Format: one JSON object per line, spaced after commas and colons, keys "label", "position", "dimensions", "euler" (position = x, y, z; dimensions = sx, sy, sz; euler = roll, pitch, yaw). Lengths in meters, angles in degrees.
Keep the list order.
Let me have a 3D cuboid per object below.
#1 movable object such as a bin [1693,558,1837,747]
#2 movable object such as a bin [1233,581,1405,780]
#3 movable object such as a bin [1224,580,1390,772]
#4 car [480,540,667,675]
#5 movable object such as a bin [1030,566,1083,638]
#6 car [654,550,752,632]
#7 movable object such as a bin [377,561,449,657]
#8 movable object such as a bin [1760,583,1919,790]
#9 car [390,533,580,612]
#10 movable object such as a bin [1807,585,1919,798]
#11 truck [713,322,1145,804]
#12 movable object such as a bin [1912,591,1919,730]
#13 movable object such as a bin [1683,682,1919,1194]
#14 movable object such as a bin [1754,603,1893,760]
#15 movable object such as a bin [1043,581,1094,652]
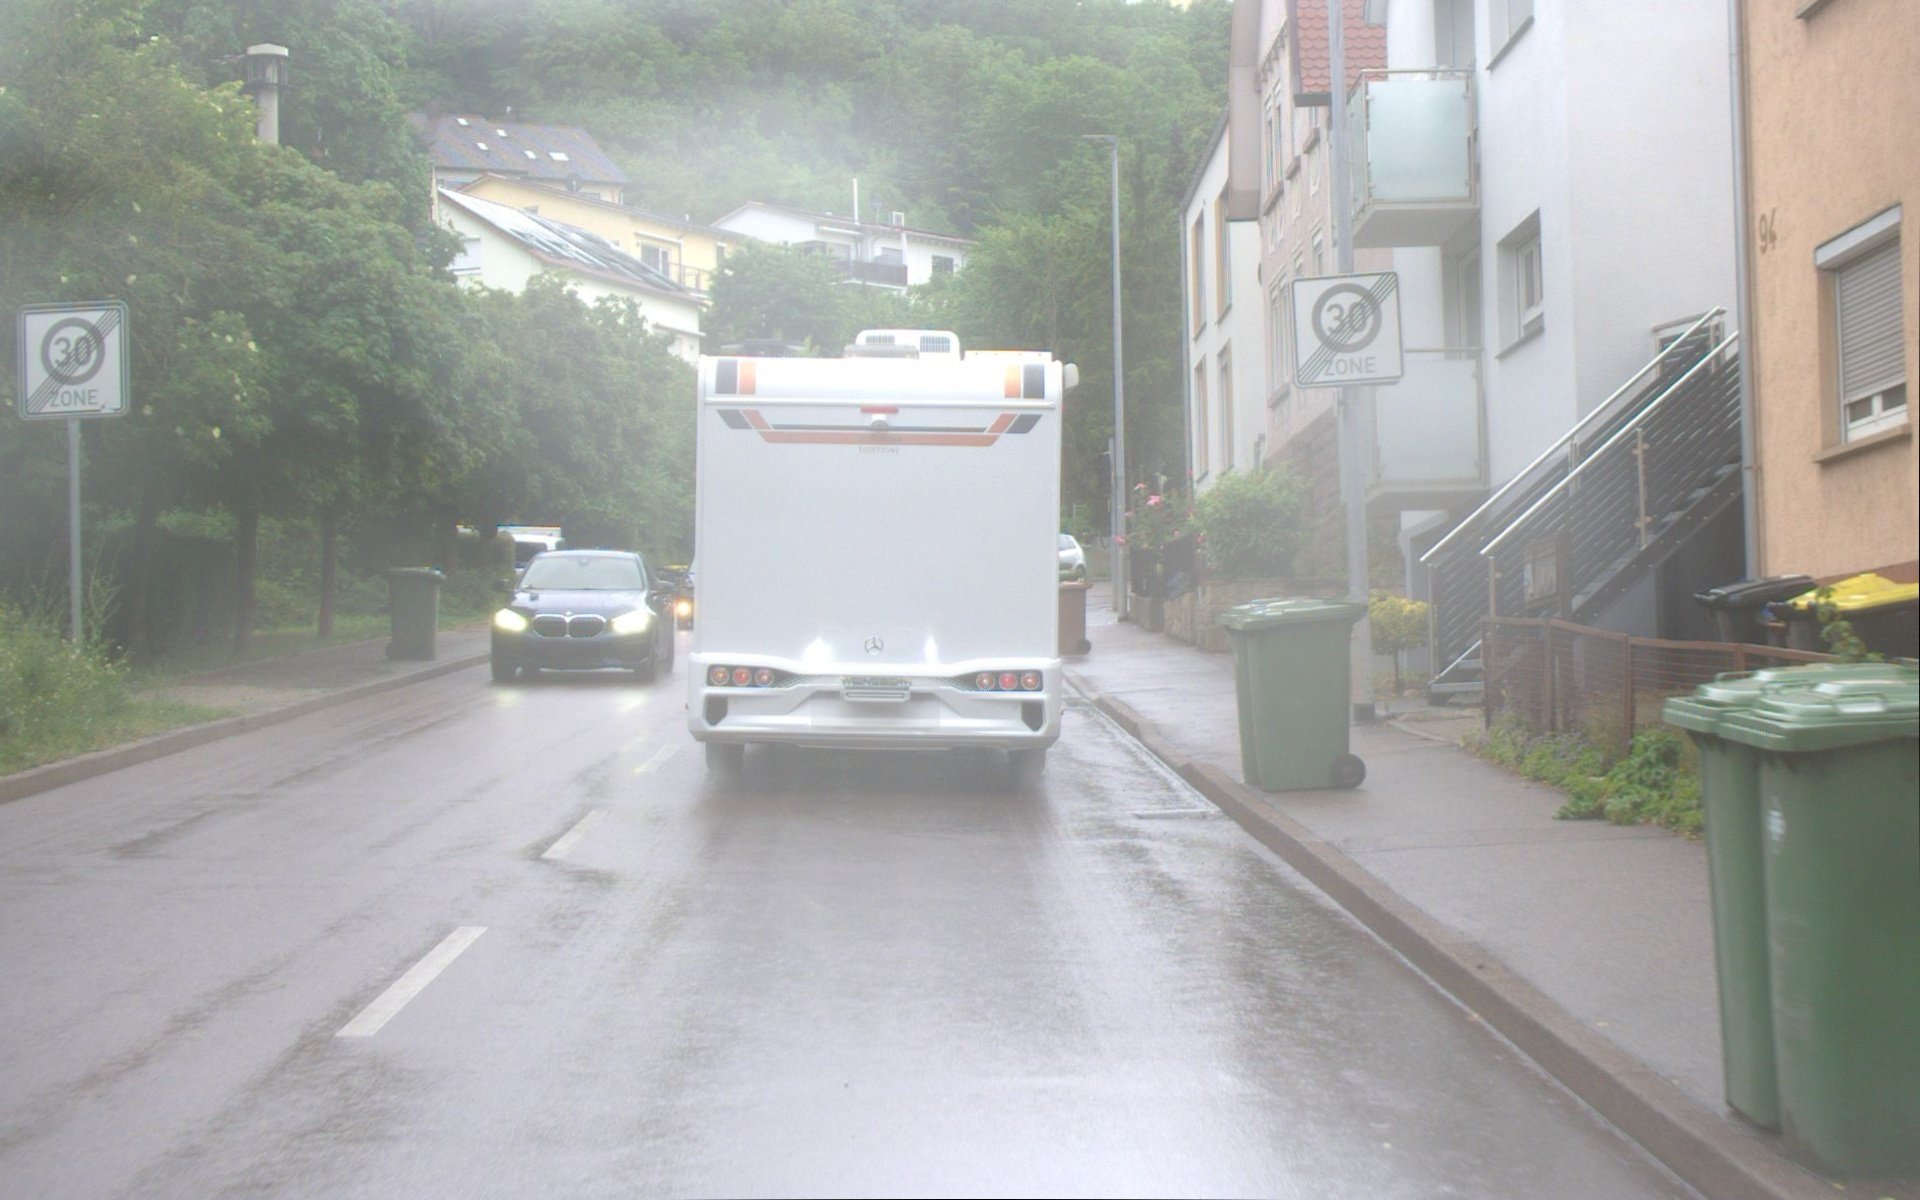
{"label": "movable object such as a bin", "position": [4.937, 0.315, 21.106], "dimensions": [0.660, 1.089, 0.545], "euler": [-5, 1, -2]}
{"label": "movable object such as a bin", "position": [2.022, 0.447, 19.437], "dimensions": [0.914, 1.099, 0.702], "euler": [0, 1, 1]}
{"label": "movable object such as a bin", "position": [2.029, 0.435, 20.185], "dimensions": [0.914, 1.099, 0.702], "euler": [0, 1, 1]}
{"label": "car", "position": [-4.297, 0.049, 38.720], "dimensions": [1.719, 1.425, 3.845], "euler": [0, 1, -1]}
{"label": "movable object such as a bin", "position": [1.460, 0.028, 51.948], "dimensions": [0.796, 1.066, 0.761], "euler": [0, 1, 1]}
{"label": "car", "position": [-4.625, -0.188, 62.222], "dimensions": [1.618, 1.436, 3.738], "euler": [0, 1, -2]}
{"label": "movable object such as a bin", "position": [-6.390, 0.097, 40.184], "dimensions": [0.720, 1.096, 0.757], "euler": [1, 1, -1]}
{"label": "movable object such as a bin", "position": [4.929, 0.476, 19.289], "dimensions": [0.660, 1.089, 0.545], "euler": [-5, 1, -2]}
{"label": "car", "position": [-10.976, -0.638, 79.635], "dimensions": [4.106, 1.794, 2.000], "euler": [0, 1, 1]}
{"label": "movable object such as a bin", "position": [5.029, 0.487, 18.636], "dimensions": [0.644, 1.089, 0.545], "euler": [-5, 1, -2]}
{"label": "truck", "position": [-0.265, -0.266, 23.179], "dimensions": [2.515, 2.808, 6.202], "euler": [0, 1, -2]}
{"label": "movable object such as a bin", "position": [5.081, 0.487, 16.681], "dimensions": [0.660, 1.089, 0.656], "euler": [-4, 1, -3]}
{"label": "movable object such as a bin", "position": [2.037, 0.721, 7.635], "dimensions": [0.720, 1.048, 0.800], "euler": [0, 1, 2]}
{"label": "movable object such as a bin", "position": [5.027, 0.469, 20.037], "dimensions": [0.669, 0.892, 0.536], "euler": [0, 1, -1]}
{"label": "movable object such as a bin", "position": [1.402, 0.211, 44.509], "dimensions": [0.630, 0.894, 0.712], "euler": [0, 1, -1]}
